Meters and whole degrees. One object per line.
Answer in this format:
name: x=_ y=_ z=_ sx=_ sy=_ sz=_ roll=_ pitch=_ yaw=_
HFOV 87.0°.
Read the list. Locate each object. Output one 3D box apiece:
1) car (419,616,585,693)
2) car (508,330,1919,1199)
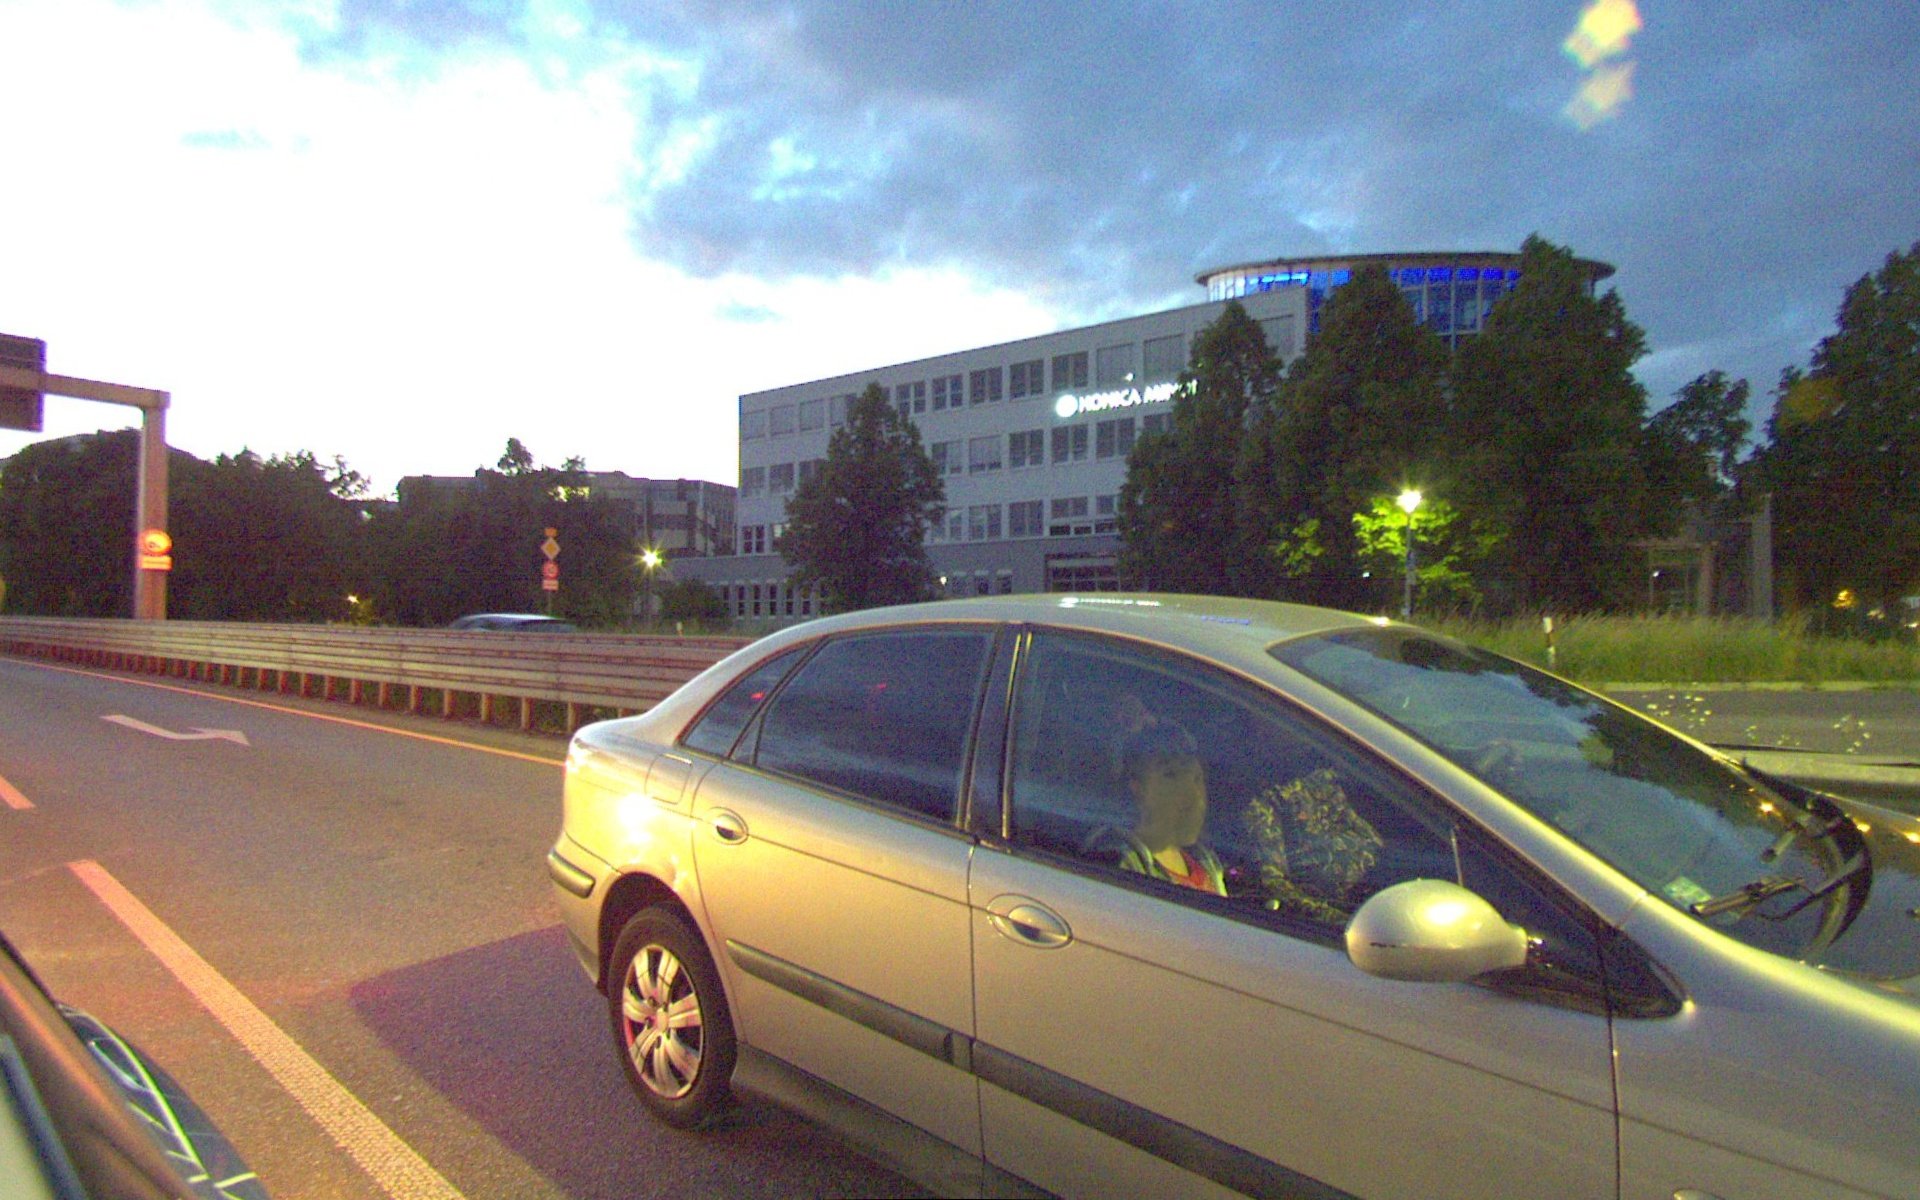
car: x=-9.551 y=1.066 z=20.964 sx=4.111 sy=1.454 sz=1.738 roll=-1 pitch=-2 yaw=44
car: x=0.728 y=0.555 z=2.439 sx=4.409 sy=1.665 sz=1.648 roll=-1 pitch=0 yaw=42
